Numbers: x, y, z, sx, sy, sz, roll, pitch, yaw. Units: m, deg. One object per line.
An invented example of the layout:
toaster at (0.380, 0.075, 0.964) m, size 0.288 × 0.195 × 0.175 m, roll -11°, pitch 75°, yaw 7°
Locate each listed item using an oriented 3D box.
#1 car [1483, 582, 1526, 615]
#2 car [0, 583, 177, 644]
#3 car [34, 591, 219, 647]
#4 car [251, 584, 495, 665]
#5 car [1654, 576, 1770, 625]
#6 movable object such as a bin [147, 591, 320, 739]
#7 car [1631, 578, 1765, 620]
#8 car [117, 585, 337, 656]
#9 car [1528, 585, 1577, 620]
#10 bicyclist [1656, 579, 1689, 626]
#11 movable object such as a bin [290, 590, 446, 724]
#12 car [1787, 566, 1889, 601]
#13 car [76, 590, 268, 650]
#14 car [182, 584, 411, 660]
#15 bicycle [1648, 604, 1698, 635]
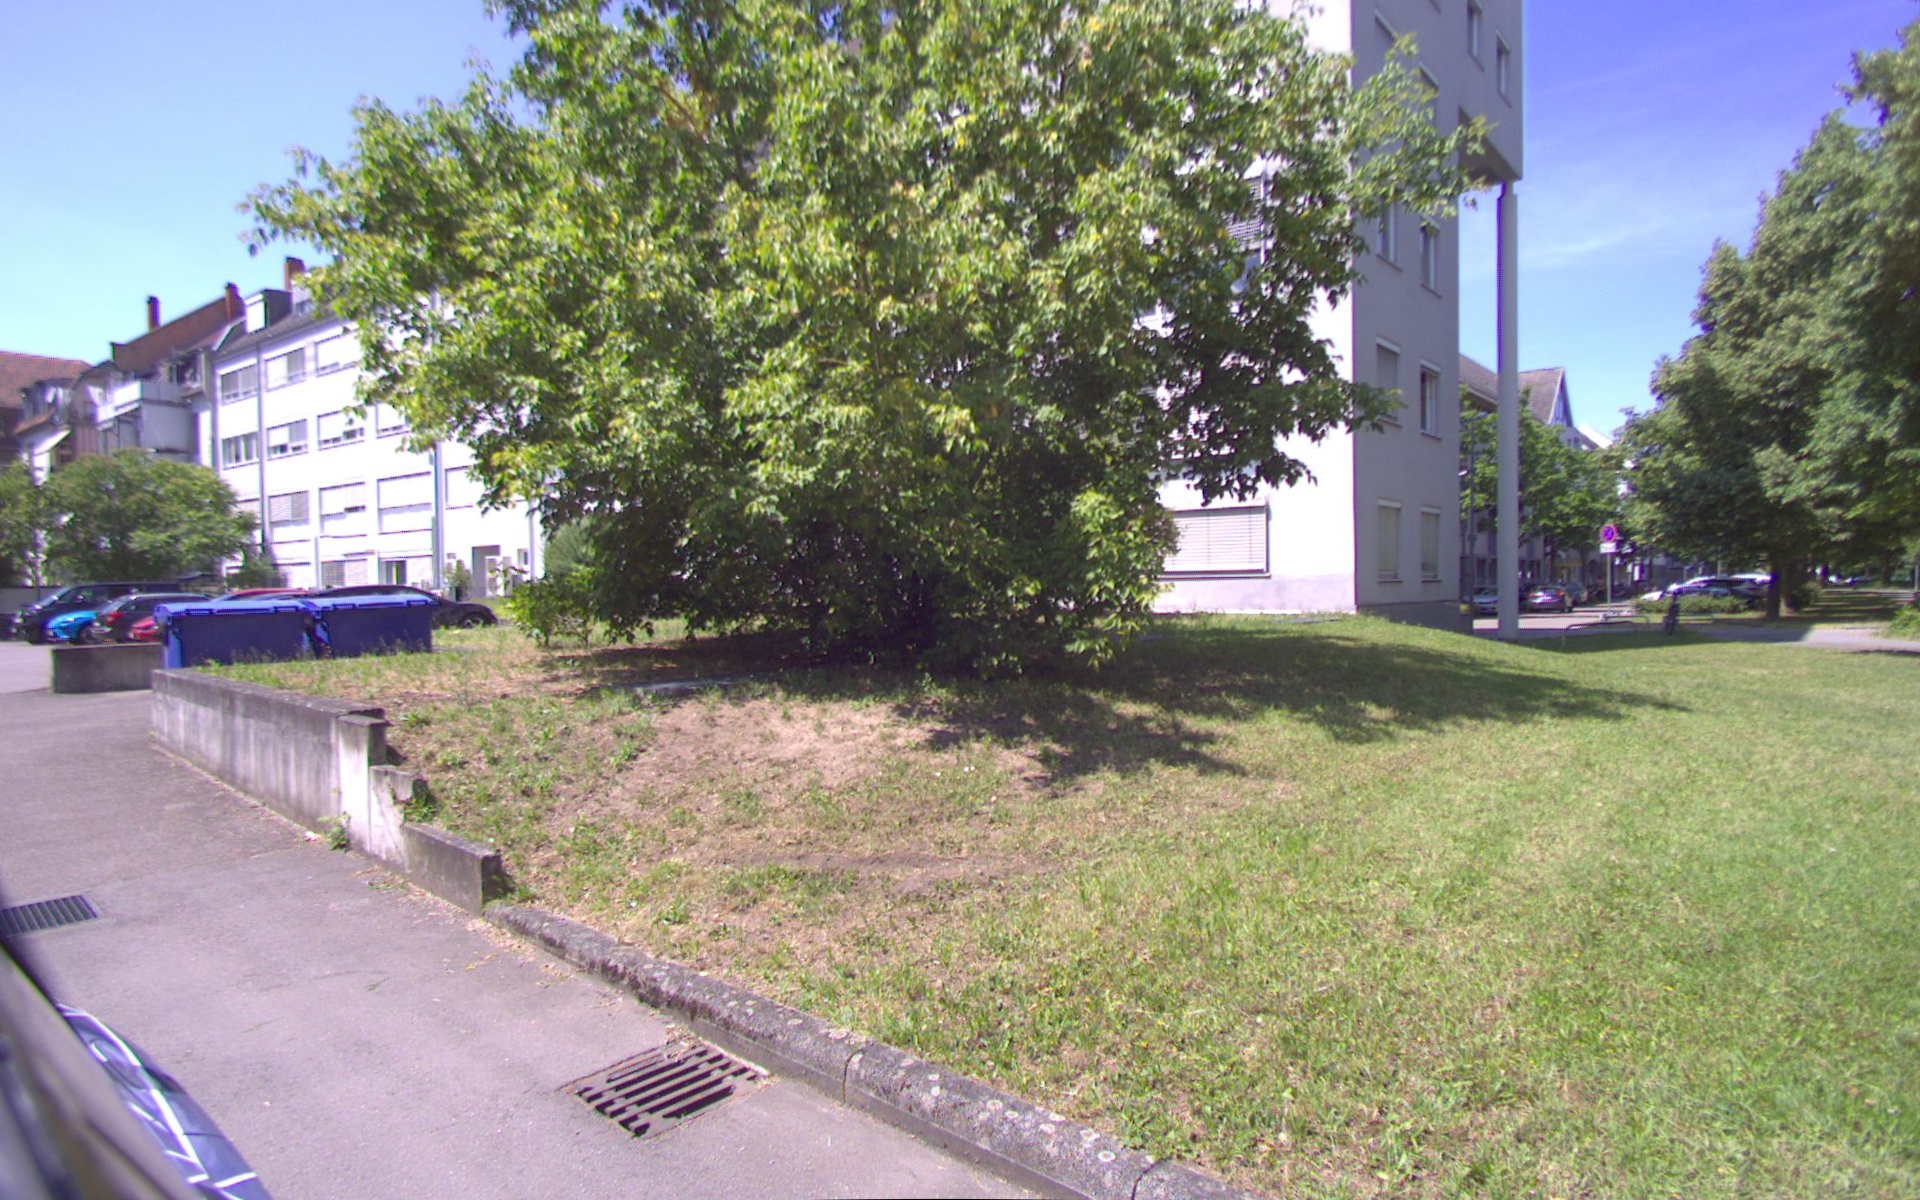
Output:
car at (27.585, -0.114, 51.345) m, size 1.799 × 1.615 × 3.859 m, roll 0°, pitch 1°, yaw 27°
car at (-28.302, 0.376, 32.867) m, size 2.006 × 1.837 × 4.173 m, roll 1°, pitch 1°, yaw 36°
car at (-25.721, 0.525, 31.354) m, size 1.610 × 1.580 × 4.173 m, roll 1°, pitch 1°, yaw 36°
car at (-12.783, 0.446, 22.309) m, size 1.610 × 1.580 × 4.392 m, roll 1°, pitch 1°, yaw 36°
car at (32.908, -0.006, 44.318) m, size 3.997 × 2.029 × 1.973 m, roll 1°, pitch 1°, yaw 40°
movable object such as a bin at (-7.560, 0.614, 10.544) m, size 1.095 × 1.399 × 1.254 m, roll 1°, pitch 1°, yaw 42°
car at (30.316, -0.087, 41.637) m, size 4.338 × 1.622 × 1.908 m, roll 1°, pitch 1°, yaw 40°
car at (-18.179, 0.441, 25.280) m, size 1.610 × 1.580 × 4.173 m, roll 1°, pitch 1°, yaw 36°
car at (28.830, 0.082, 49.368) m, size 1.799 × 1.615 × 3.859 m, roll 0°, pitch 1°, yaw 27°
bicyclist at (16.501, 0.057, 23.441) m, size 0.518 × 1.053 × 0.515 m, roll -4°, pitch -2°, yaw 44°
movable object such as a bin at (-6.727, 0.590, 11.519) m, size 1.095 × 1.399 × 1.254 m, roll 1°, pitch 1°, yaw 42°
car at (45.963, -0.879, 53.101) m, size 3.997 × 1.780 × 1.806 m, roll 1°, pitch 1°, yaw 40°
car at (-23.055, 0.527, 29.752) m, size 1.610 × 1.580 × 4.173 m, roll 1°, pitch 1°, yaw 36°
car at (-15.302, 0.431, 23.545) m, size 1.610 × 1.580 × 4.173 m, roll 1°, pitch 1°, yaw 36°
bicycle at (16.550, 0.452, 23.481) m, size 0.734 × 0.646 × 1.594 m, roll -3°, pitch -1°, yaw 43°
